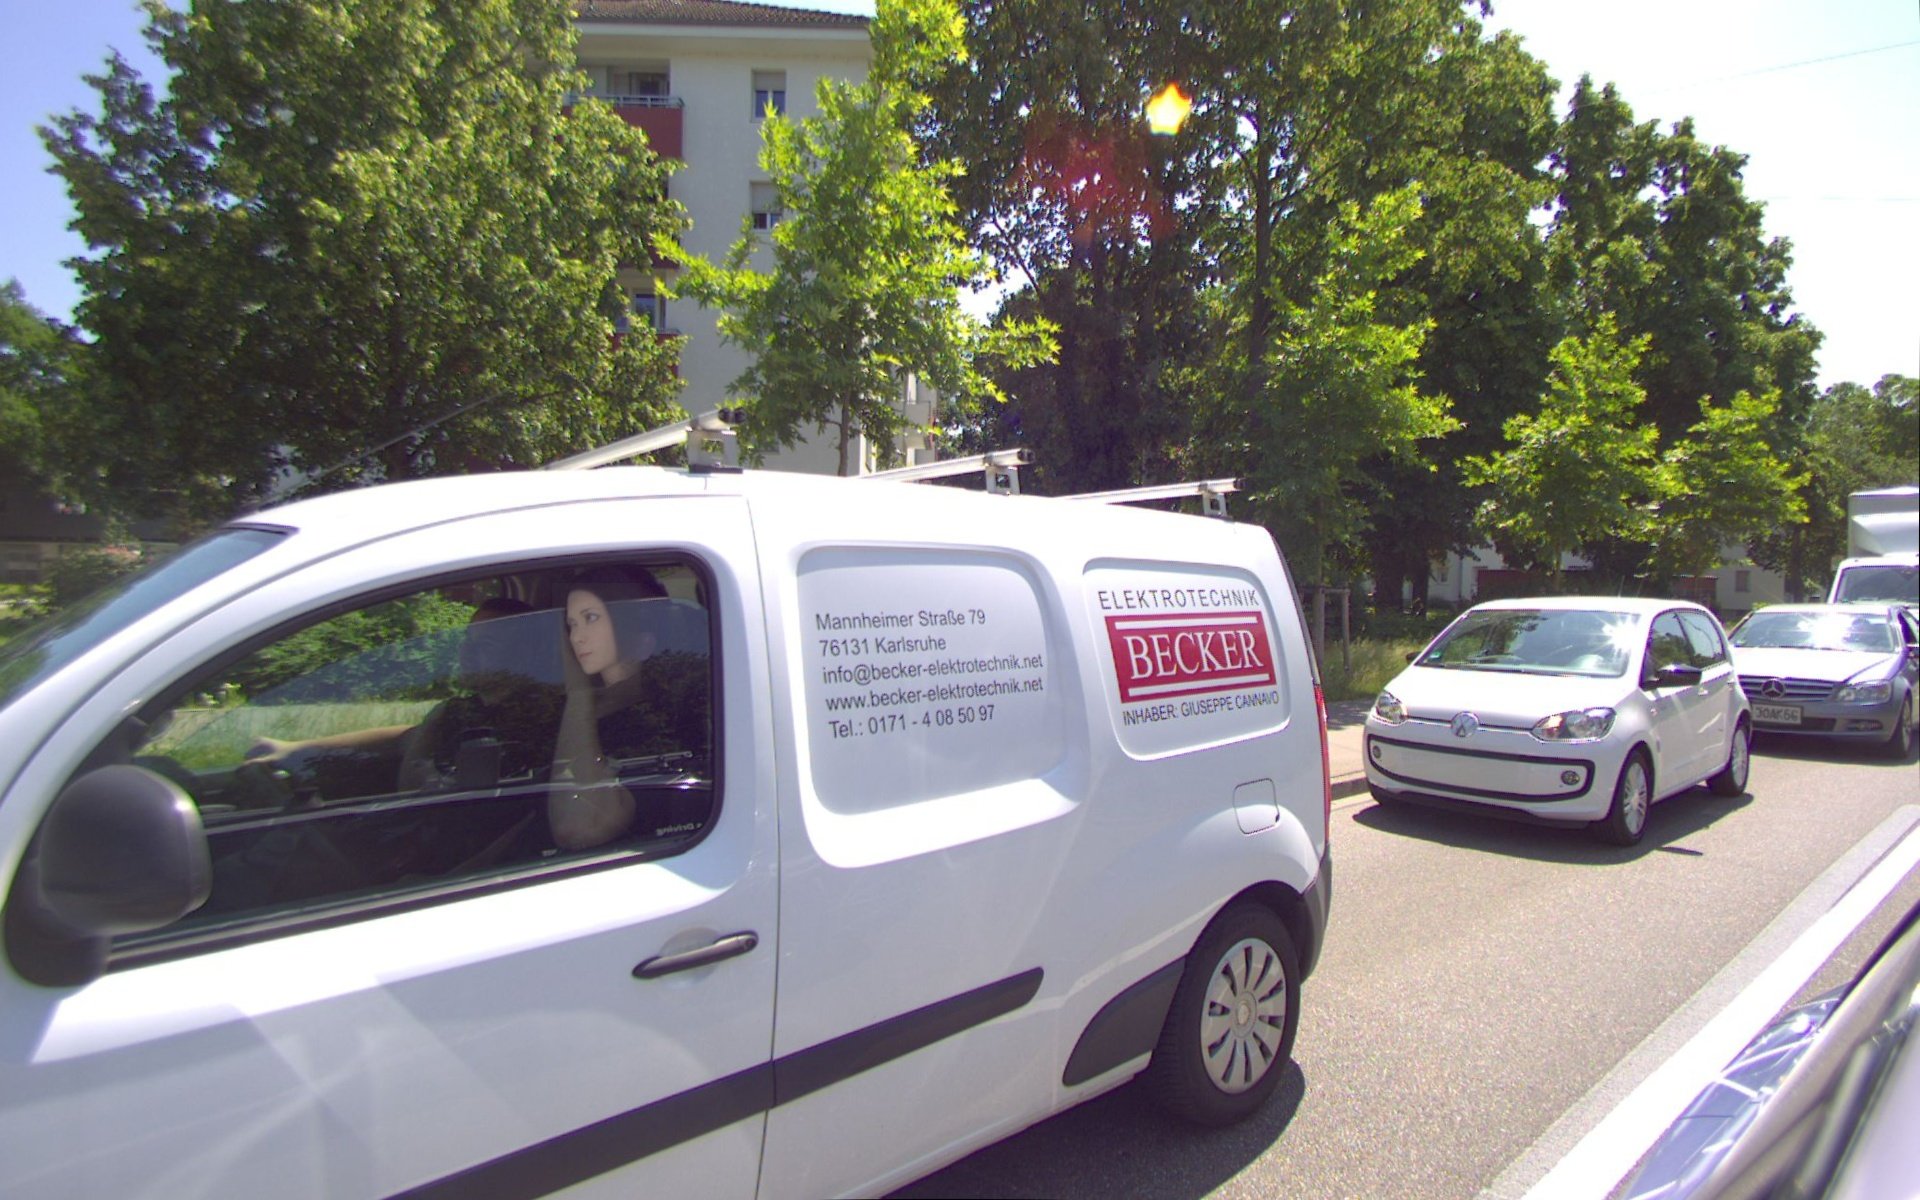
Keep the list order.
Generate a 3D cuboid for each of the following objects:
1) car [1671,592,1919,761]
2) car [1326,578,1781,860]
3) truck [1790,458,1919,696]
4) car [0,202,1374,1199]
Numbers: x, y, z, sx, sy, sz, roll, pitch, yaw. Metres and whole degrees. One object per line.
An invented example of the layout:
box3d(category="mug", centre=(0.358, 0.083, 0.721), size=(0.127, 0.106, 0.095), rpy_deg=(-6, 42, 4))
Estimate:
box3d(category="car", centre=(9.234, 0.652, 10.743), size=(4.016, 1.426, 1.839), rpy_deg=(0, 1, -41))
box3d(category="car", centre=(4.401, 0.619, 7.293), size=(3.705, 1.497, 1.729), rpy_deg=(0, 1, -41))
box3d(category="truck", centre=(16.517, -0.341, 16.978), size=(7.778, 3.387, 2.434), rpy_deg=(0, 1, -39))
box3d(category="car", centre=(-0.992, 0.453, 2.539), size=(4.370, 1.849, 1.997), rpy_deg=(0, 1, -41))
